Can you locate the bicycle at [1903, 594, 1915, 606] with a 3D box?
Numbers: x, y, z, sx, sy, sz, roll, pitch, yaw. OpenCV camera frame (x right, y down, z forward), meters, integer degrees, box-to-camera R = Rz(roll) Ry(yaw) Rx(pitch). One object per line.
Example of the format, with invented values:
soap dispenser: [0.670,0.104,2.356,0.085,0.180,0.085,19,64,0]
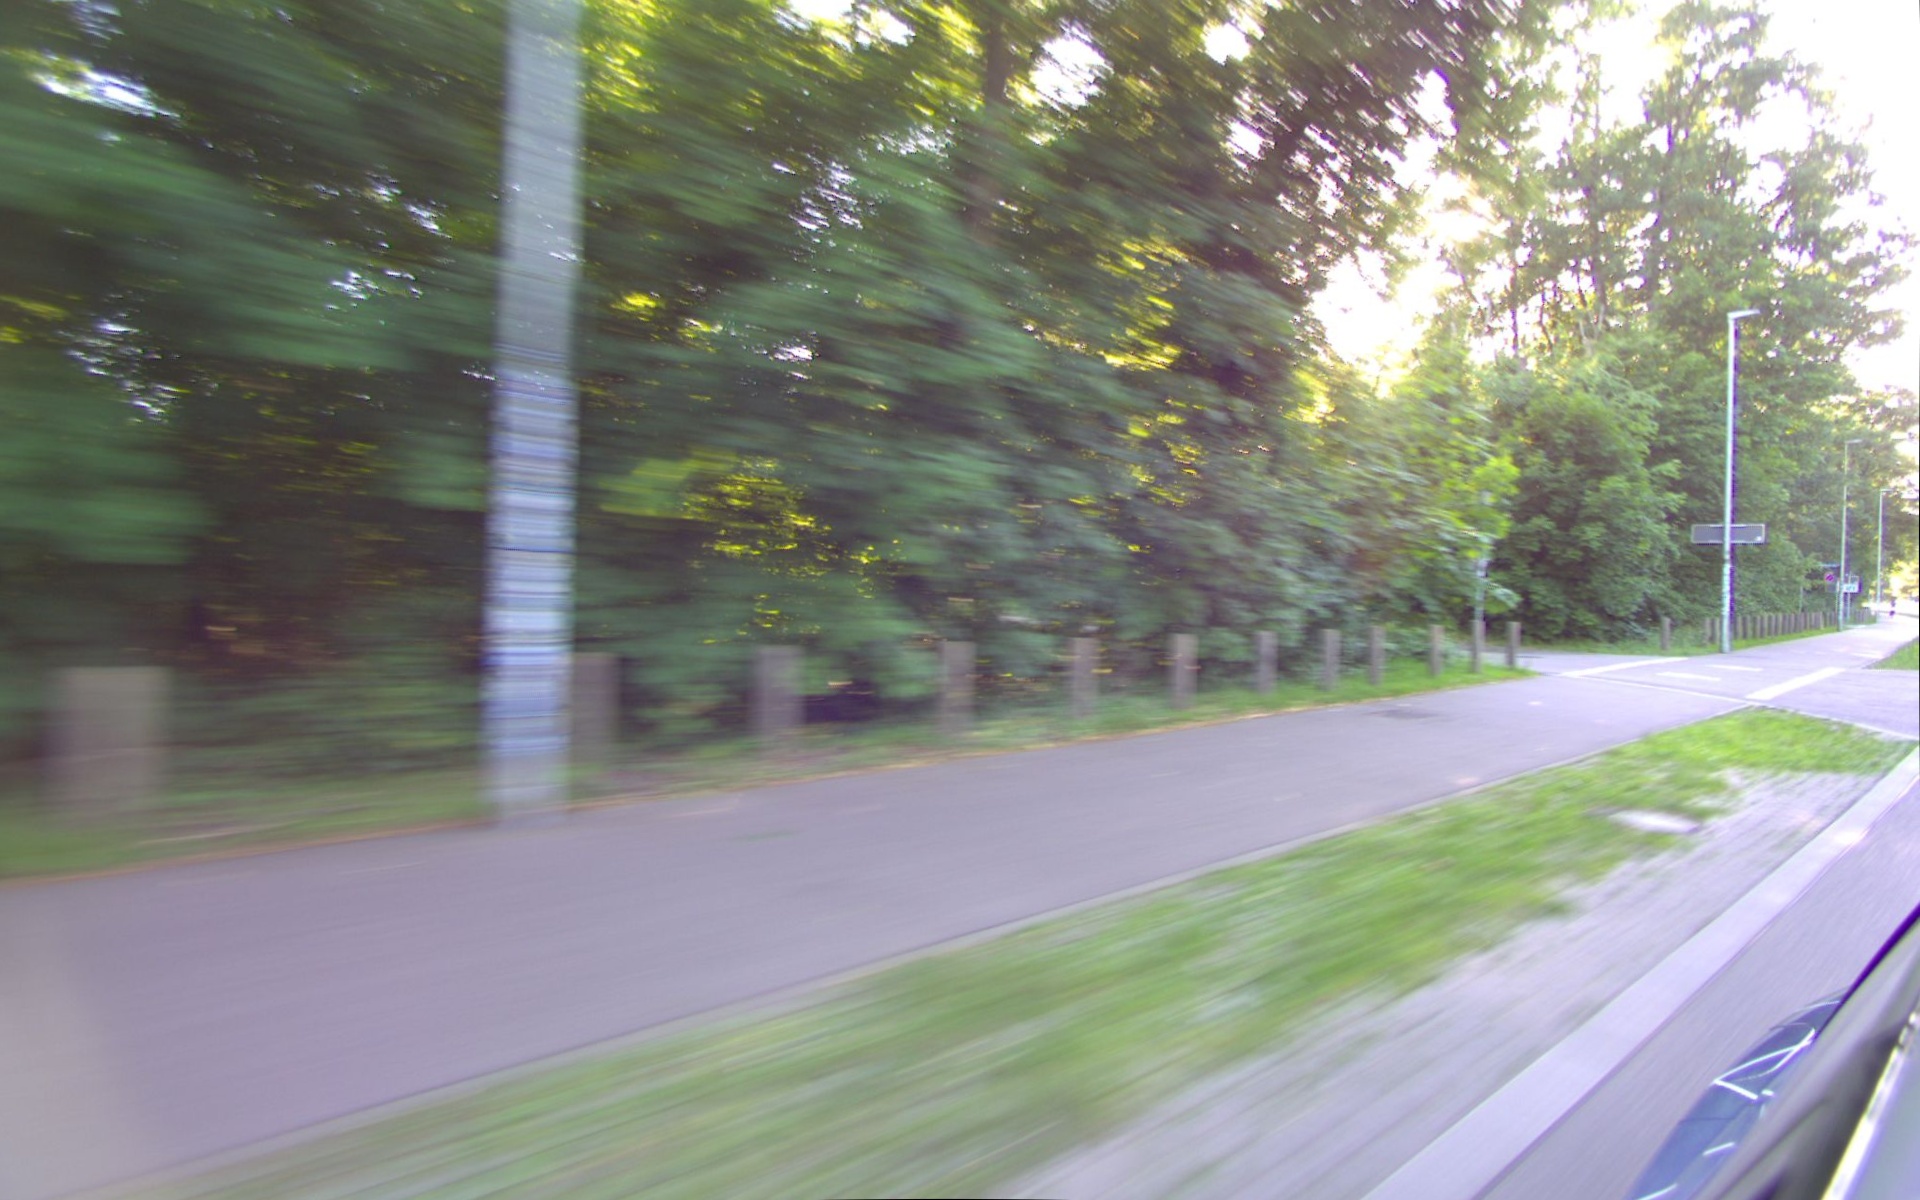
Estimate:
bicycle: [86.157,-0.014,91.846,0.606,1.070,2.834,1,1,39]

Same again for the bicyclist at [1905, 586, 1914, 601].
bicyclist: [86.078,-0.603,91.762,0.512,1.283,0.490,1,1,40]
